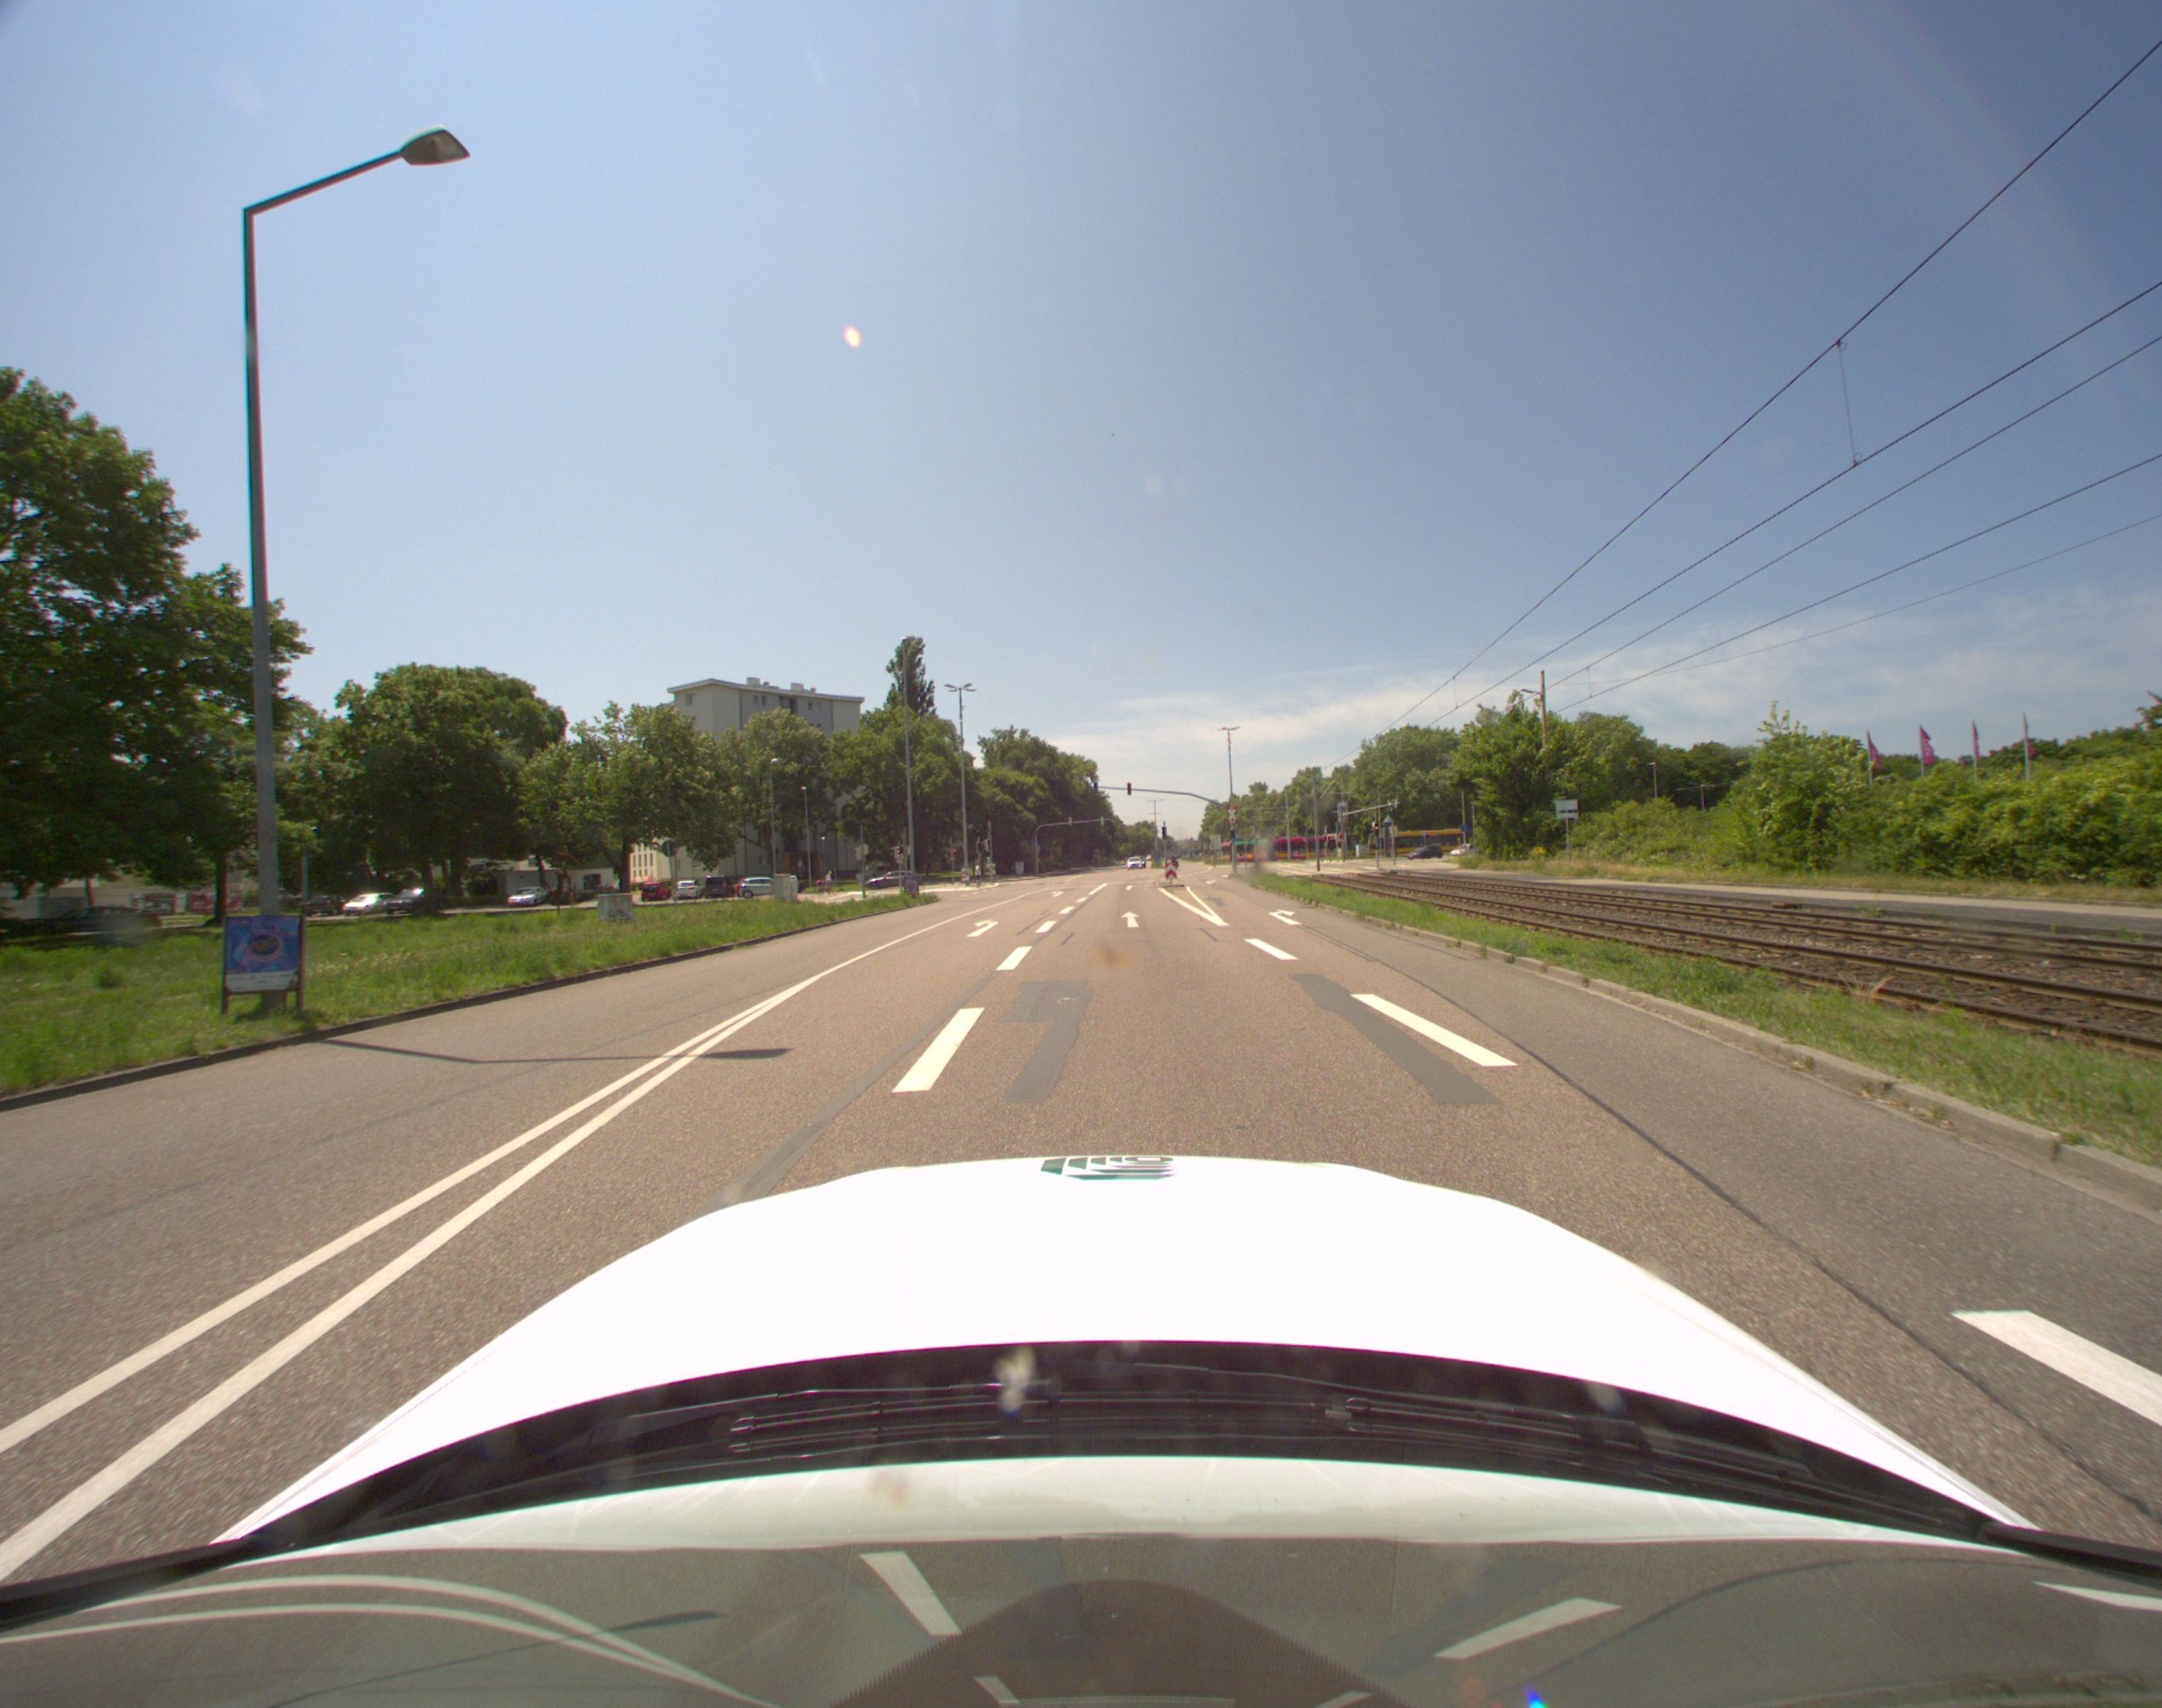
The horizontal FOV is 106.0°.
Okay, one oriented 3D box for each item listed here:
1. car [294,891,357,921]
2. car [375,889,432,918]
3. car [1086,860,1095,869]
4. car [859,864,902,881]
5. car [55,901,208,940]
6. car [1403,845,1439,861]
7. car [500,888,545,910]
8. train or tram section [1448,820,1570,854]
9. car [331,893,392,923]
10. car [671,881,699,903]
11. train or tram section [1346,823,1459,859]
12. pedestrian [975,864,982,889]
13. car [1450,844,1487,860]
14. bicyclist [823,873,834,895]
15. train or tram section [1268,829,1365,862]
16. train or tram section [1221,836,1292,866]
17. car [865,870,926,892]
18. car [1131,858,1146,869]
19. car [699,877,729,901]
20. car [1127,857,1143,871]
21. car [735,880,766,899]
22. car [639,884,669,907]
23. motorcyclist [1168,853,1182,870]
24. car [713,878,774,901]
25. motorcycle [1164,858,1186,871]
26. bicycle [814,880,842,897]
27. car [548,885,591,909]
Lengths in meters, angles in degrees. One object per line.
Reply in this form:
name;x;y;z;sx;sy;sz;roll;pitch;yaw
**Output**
car;-55.910;3.840;60.356;1.850;1.948;3.977;-1;-1;-17
car;-50.475;3.679;60.785;1.850;1.948;3.977;-1;-1;-17
car;2.273;2.394;191.700;1.985;2.014;4.002;1;-1;3
car;-23.357;2.196;95.032;4.575;1.768;1.769;-2;-1;-45
car;-47.842;3.329;41.172;1.976;1.467;4.610;-3;0;23
car;36.392;-0.078;87.126;3.516;1.463;1.626;-3;-1;-26
car;-43.700;3.497;63.806;1.692;1.562;3.816;-2;-1;-16
train or tram section;55.550;-2.165;106.103;13.849;3.920;2.928;-2;-3;5
car;-53.131;3.979;60.207;1.850;1.948;3.977;-1;-1;-17
car;-32.608;3.109;67.204;1.711;1.592;3.971;-1;-1;-21
train or tram section;43.013;-1.683;109.300;13.872;3.920;2.939;-3;-4;23
pedestrian;-7.022;1.566;55.805;0.381;1.687;0.486;-2;-1;2
car;40.754;-0.214;85.605;3.817;1.463;1.624;-2;-1;-30
bicyclist;-18.101;2.150;58.381;0.665;1.537;0.627;-2;-1;-17
train or tram section;33.151;-1.066;115.468;13.285;3.812;2.941;-4;-5;43
train or tram section;26.654;-0.379;124.612;2.930;3.812;12.955;1;-4;-27
car;-15.168;2.206;66.736;4.605;1.499;1.910;-2;-1;-4
car;7.584;1.190;107.300;1.702;1.365;3.871;-3;-1;6
car;-30.205;2.870;67.188;1.708;1.801;3.977;-1;-1;-17
car;6.619;1.166;99.806;1.775;1.629;3.871;-3;-1;6
car;-27.679;2.961;68.322;1.618;1.464;3.985;-1;-1;-10
car;-34.973;3.365;66.805;1.855;1.668;3.967;-2;-1;-25
motorcyclist;9.282;0.725;80.502;0.782;1.643;1.218;-2;-1;44
car;-24.392;2.547;58.941;3.897;1.469;1.764;-2;-1;-19
motorcycle;9.313;1.023;80.545;0.839;1.255;2.463;-2;-1;44
bicycle;-18.154;2.444;58.355;1.868;1.093;0.642;-2;-1;-17
car;-40.899;3.440;65.180;1.851;1.711;3.977;-2;-1;-17
